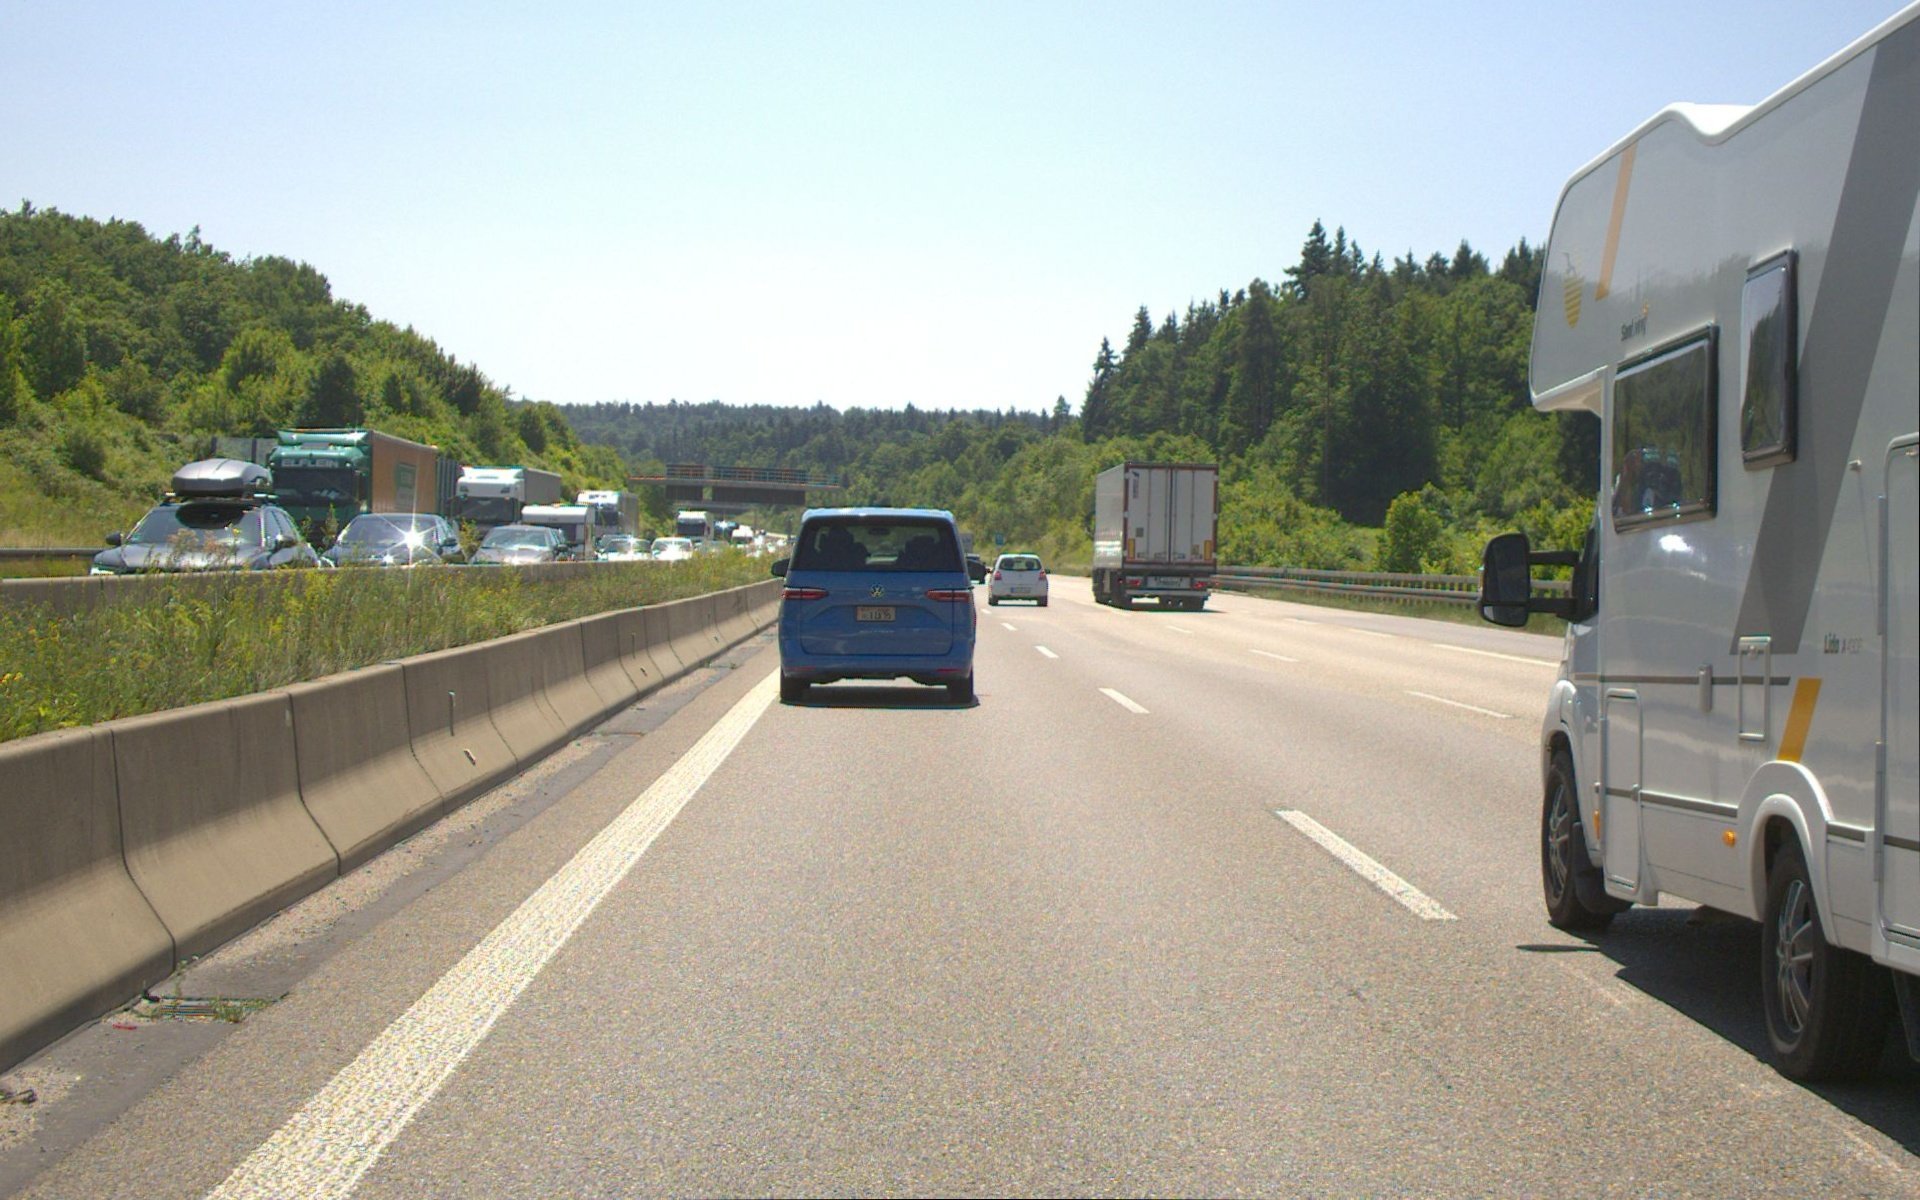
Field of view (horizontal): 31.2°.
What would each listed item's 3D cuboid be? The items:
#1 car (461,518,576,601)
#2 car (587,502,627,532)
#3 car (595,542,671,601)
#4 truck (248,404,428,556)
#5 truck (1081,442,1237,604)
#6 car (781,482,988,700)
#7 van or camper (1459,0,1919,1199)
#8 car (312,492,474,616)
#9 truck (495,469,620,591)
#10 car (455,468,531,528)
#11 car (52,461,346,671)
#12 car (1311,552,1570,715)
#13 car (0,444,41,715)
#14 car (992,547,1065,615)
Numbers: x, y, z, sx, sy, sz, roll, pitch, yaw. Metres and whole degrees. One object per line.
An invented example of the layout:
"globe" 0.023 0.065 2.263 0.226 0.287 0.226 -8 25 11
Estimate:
"car" -9.028 -0.833 70.571 1.788 1.541 4.000 4 1 -1
"car" -18.706 -4.398 182.298 1.604 1.465 3.897 4 1 -1
"car" -9.500 -0.840 100.112 1.788 1.541 4.000 4 1 -1
"truck" -17.393 -3.262 97.042 2.991 3.790 12.164 4 1 -2
"truck" 5.556 -2.140 97.738 3.487 4.156 8.642 4 1 -1
"car" -0.739 -0.110 34.257 1.909 2.007 4.000 1 1 -1
"van or camper" 3.507 -0.151 11.036 2.603 3.068 7.182 1 1 -1
"car" -8.845 -0.719 53.893 1.788 1.747 4.000 4 1 -1
"truck" -13.773 -2.380 118.658 2.991 3.790 12.164 4 1 -2
"car" -17.712 -3.845 130.532 2.086 2.056 5.059 4 1 -1
"car" -8.245 -0.380 37.738 1.993 2.007 5.164 4 1 -1
"car" 4.708 0.289 34.245 1.909 1.470 4.000 2 1 -1
"car" -8.038 -0.192 23.575 1.993 2.007 5.164 4 1 -1
"car" 1.941 -0.572 98.926 1.818 1.788 3.895 4 1 -1
